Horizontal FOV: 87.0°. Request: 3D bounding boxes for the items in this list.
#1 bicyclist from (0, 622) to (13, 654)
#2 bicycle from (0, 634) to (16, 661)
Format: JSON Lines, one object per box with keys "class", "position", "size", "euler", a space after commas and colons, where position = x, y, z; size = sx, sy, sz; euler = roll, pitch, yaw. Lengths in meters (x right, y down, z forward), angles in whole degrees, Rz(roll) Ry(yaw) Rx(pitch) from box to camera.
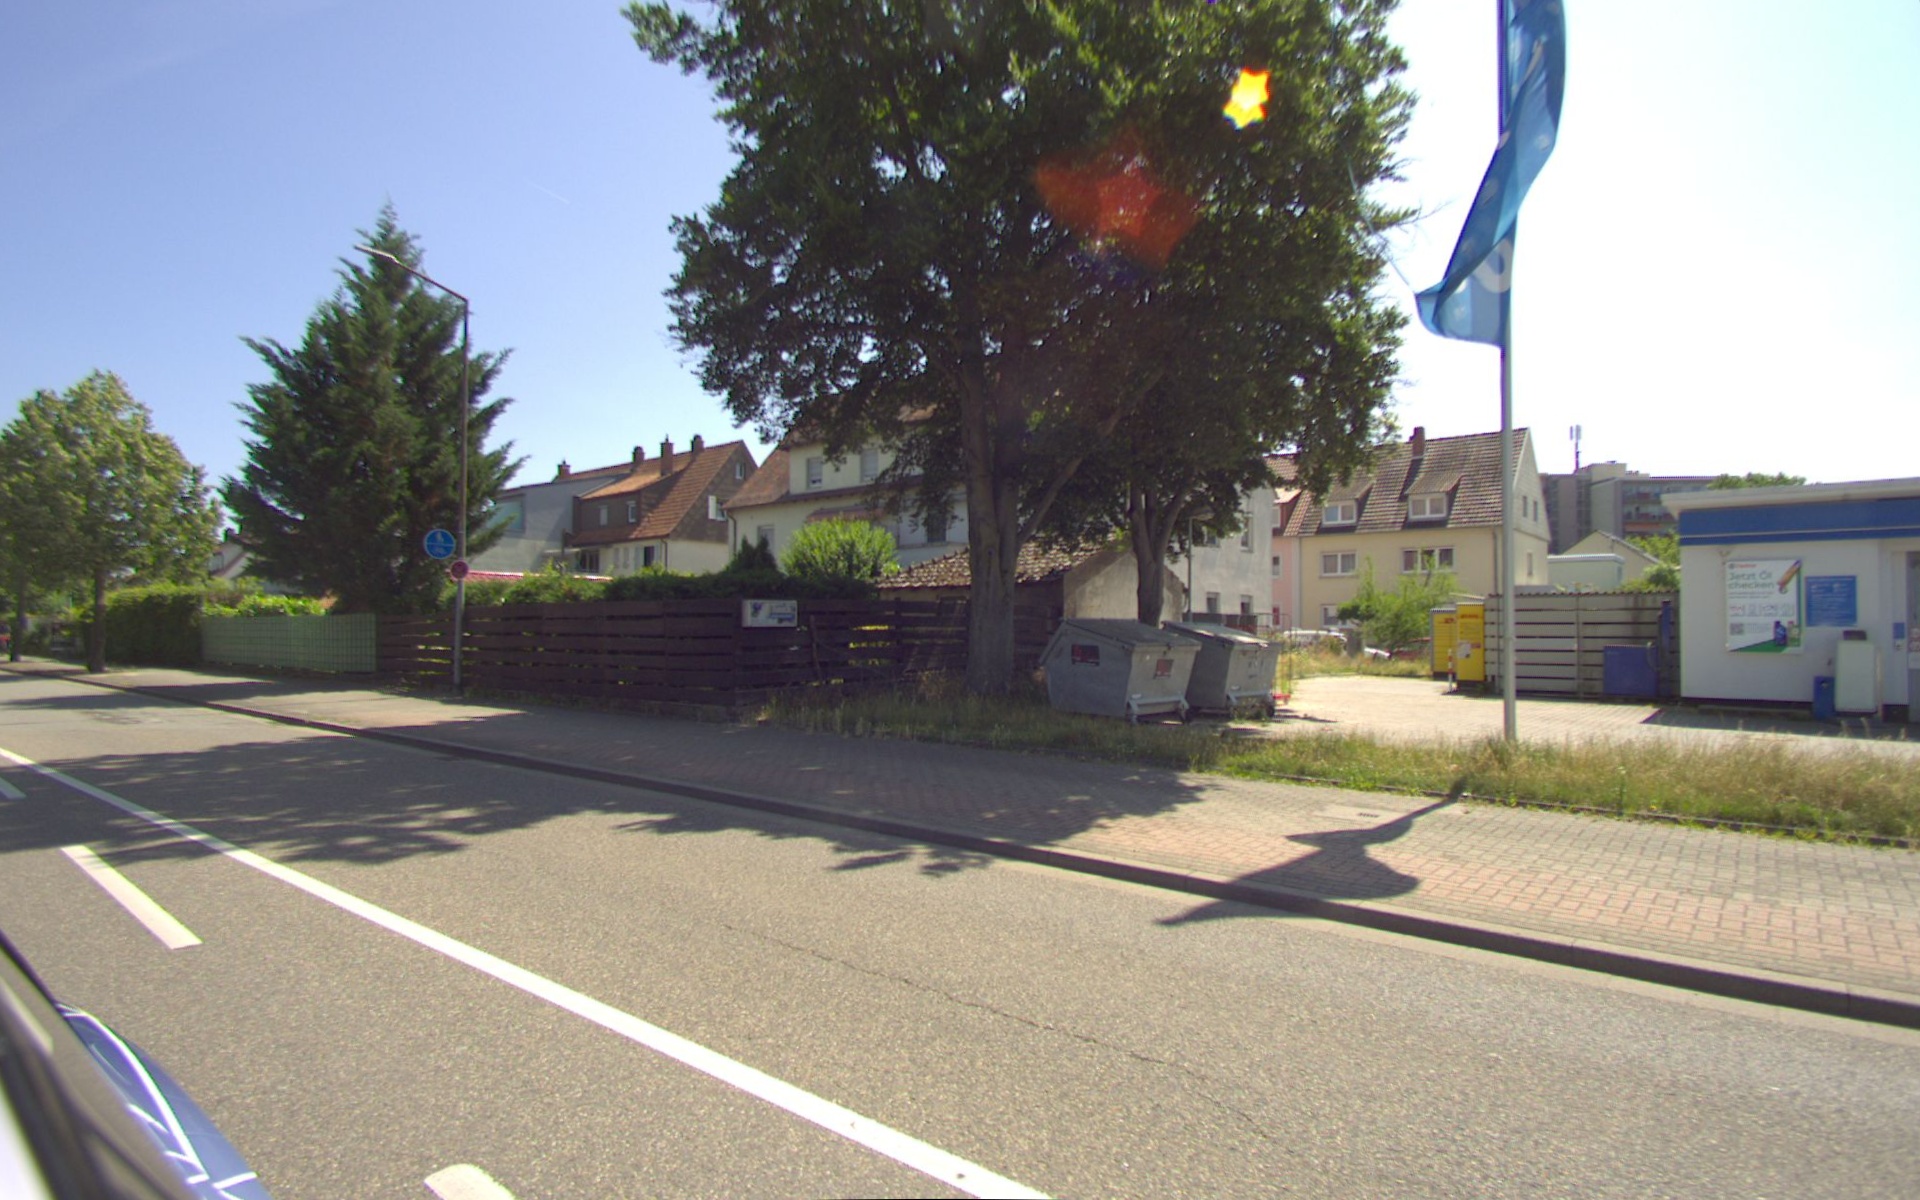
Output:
{"class": "bicyclist", "position": [-43.227, 1.703, 45.650], "size": [0.675, 1.419, 0.622], "euler": [-2, -3, 36]}
{"class": "bicycle", "position": [-43.204, 2.145, 45.612], "size": [1.812, 1.189, 0.626], "euler": [-2, -3, 37]}
